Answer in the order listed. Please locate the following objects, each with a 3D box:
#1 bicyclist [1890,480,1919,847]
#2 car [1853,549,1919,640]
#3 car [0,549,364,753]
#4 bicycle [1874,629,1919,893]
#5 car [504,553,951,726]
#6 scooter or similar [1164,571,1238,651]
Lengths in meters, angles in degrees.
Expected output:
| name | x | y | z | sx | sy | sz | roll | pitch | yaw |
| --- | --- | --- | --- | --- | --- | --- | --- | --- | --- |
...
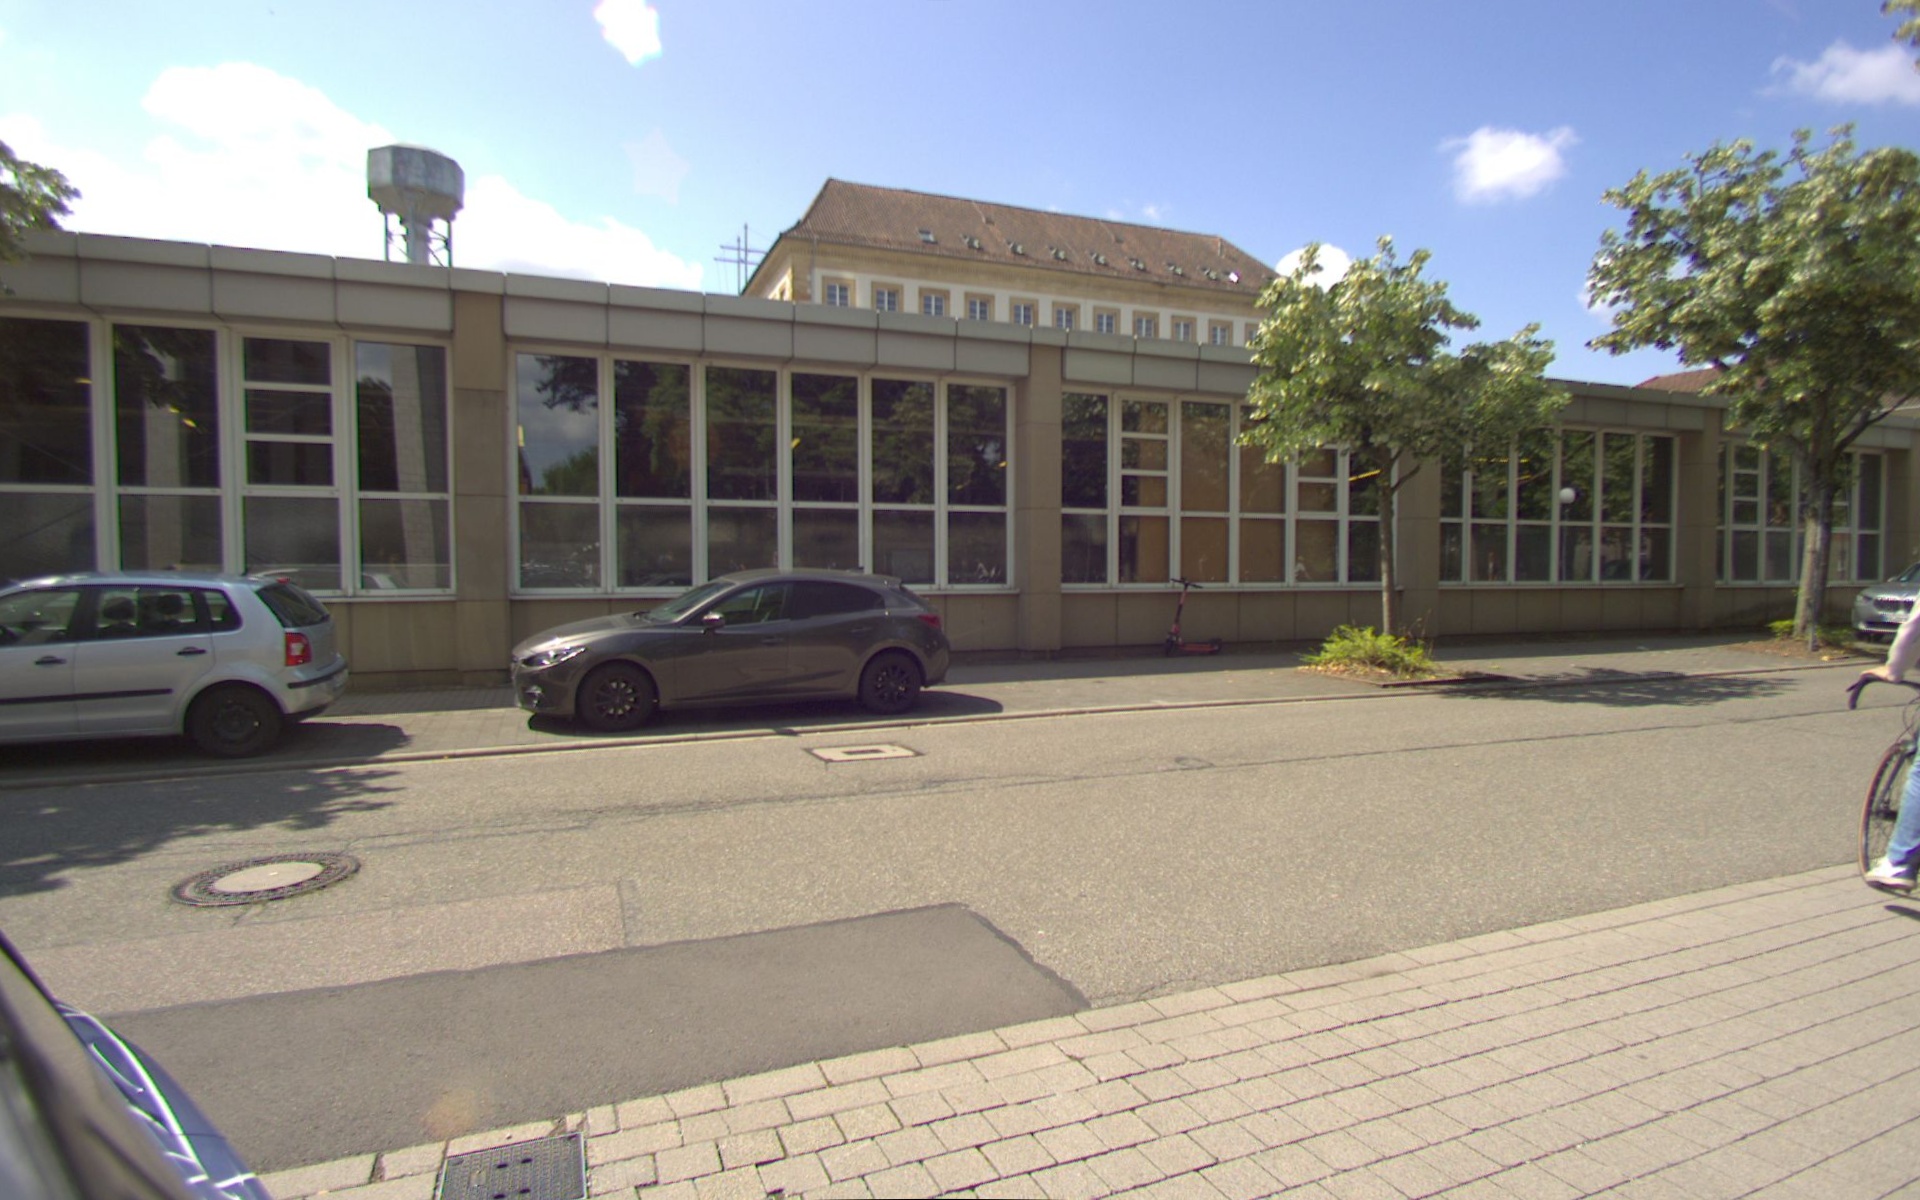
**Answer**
| name | x | y | z | sx | sy | sz | roll | pitch | yaw |
| --- | --- | --- | --- | --- | --- | --- | --- | --- | --- |
| bicyclist | 4.358 | 0.280 | 4.136 | 0.639 | 1.585 | 0.865 | -2 | 0 | 34 |
| car | 19.152 | -0.134 | 18.984 | 4.460 | 1.629 | 1.845 | -1 | 3 | -24 |
| car | -7.157 | 0.341 | 8.270 | 3.714 | 1.487 | 1.659 | -1 | 3 | -22 |
| bicycle | 4.366 | 0.712 | 4.136 | 0.639 | 1.116 | 1.799 | -2 | 0 | 34 |
| car | -2.321 | 0.270 | 10.288 | 4.139 | 1.487 | 1.659 | -1 | 3 | -22 |
| scooter or similar | 3.761 | 0.162 | 15.799 | 1.139 | 1.235 | 0.290 | 0 | 1 | -19 |
